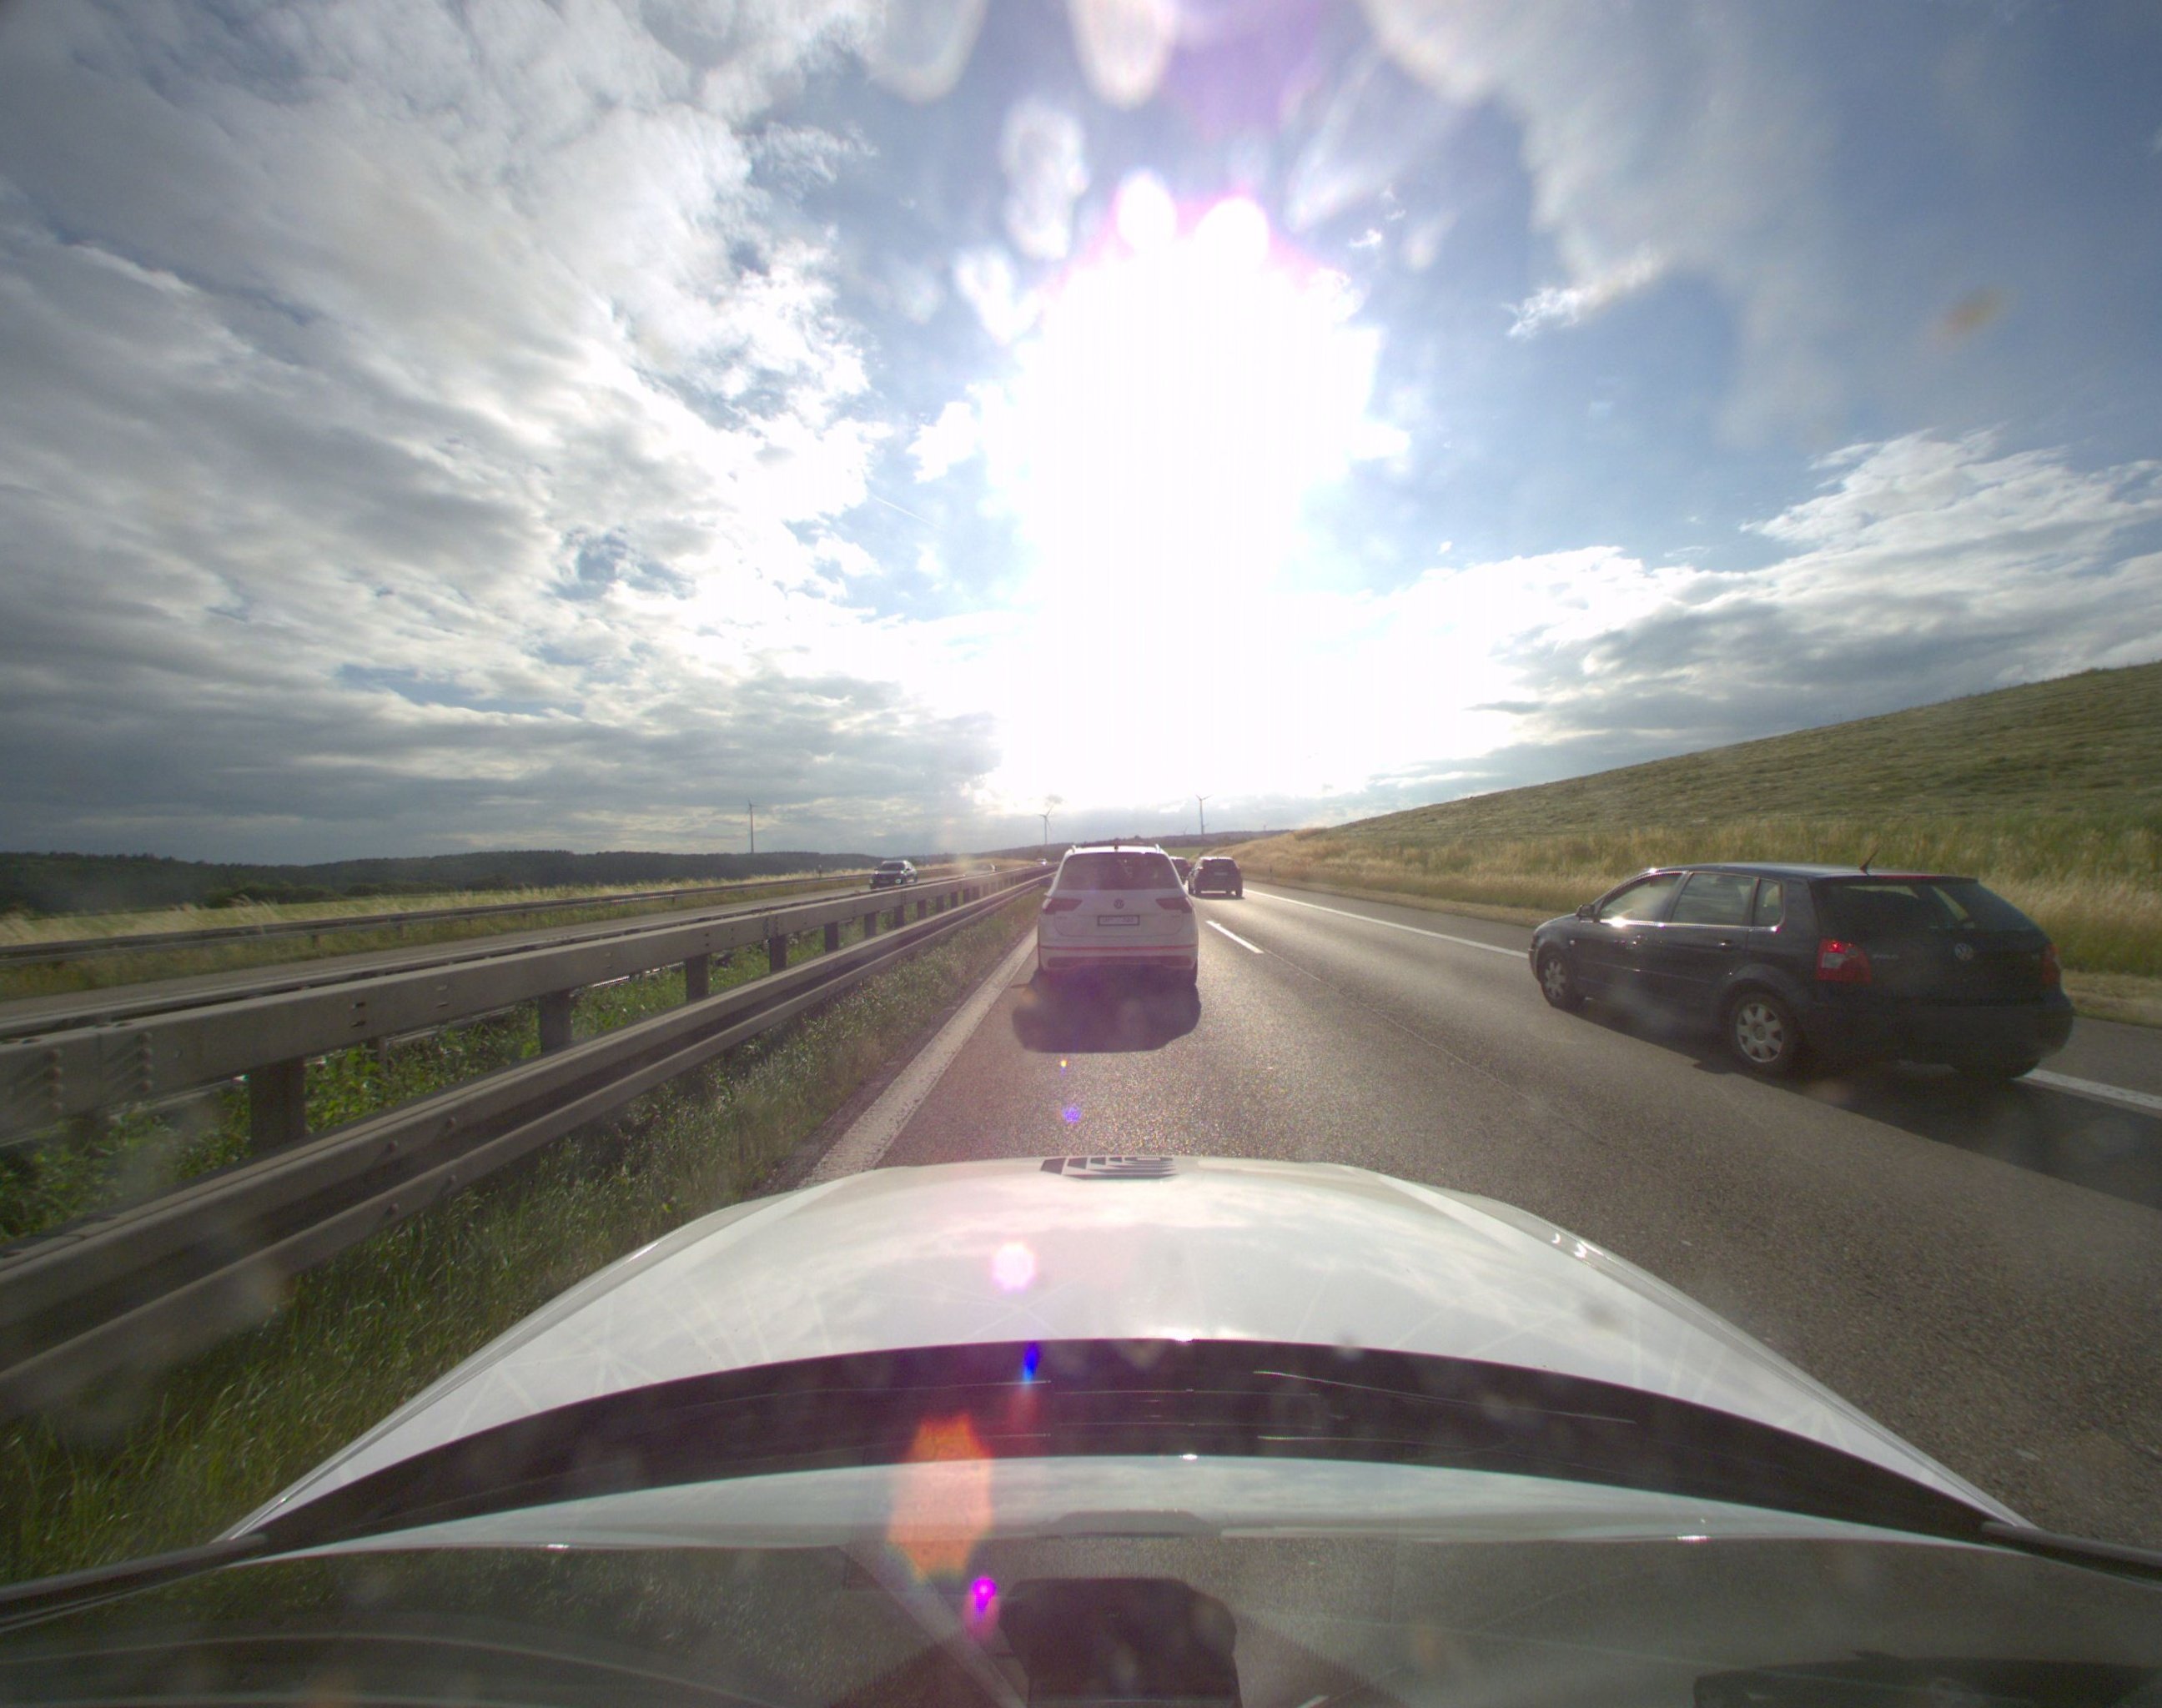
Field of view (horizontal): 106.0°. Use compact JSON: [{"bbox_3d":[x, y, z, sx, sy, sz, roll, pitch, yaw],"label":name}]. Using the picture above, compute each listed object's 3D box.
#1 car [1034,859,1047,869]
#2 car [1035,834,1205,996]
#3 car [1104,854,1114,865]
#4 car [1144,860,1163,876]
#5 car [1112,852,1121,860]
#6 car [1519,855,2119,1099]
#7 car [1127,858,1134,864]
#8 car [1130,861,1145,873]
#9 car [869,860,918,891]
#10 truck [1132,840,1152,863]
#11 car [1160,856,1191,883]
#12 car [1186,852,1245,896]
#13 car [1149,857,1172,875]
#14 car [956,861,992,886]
[{"bbox_3d":[-6.175,1.597,124.963,1.743,1.479,4.480,0,-1,1],"label":"car"},{"bbox_3d":[0.462,0.659,10.498,1.763,1.676,4.001,0,-1,1],"label":"car"},{"bbox_3d":[4.508,0.867,131.060,1.698,1.650,4.001,0,-1,2],"label":"car"},{"bbox_3d":[7.529,1.450,84.433,1.698,1.546,4.001,0,-1,2],"label":"car"},{"bbox_3d":[6.996,0.384,160.872,1.698,1.546,4.001,0,-1,2],"label":"car"},{"bbox_3d":[5.333,0.741,6.636,1.600,1.420,3.673,0,-1,1],"label":"car"},{"bbox_3d":[13.610,1.889,224.376,1.698,1.546,4.001,0,-1,2],"label":"car"},{"bbox_3d":[7.248,1.630,104.749,1.698,1.546,4.001,0,-1,2],"label":"car"},{"bbox_3d":[-9.936,1.112,43.432,1.610,1.521,4.000,0,-1,1],"label":"car"},{"bbox_3d":[10.194,-0.446,136.709,3.170,3.594,11.141,0,0,4],"label":"truck"},{"bbox_3d":[6.223,1.009,53.900,1.698,1.650,4.001,0,-1,2],"label":"car"},{"bbox_3d":[5.091,0.732,31.231,1.698,1.546,4.001,0,-1,2],"label":"car"},{"bbox_3d":[7.057,1.016,72.405,1.698,1.546,4.001,0,-1,2],"label":"car"},{"bbox_3d":[-6.311,1.128,48.360,1.610,1.392,4.000,0,-1,1],"label":"car"}]
